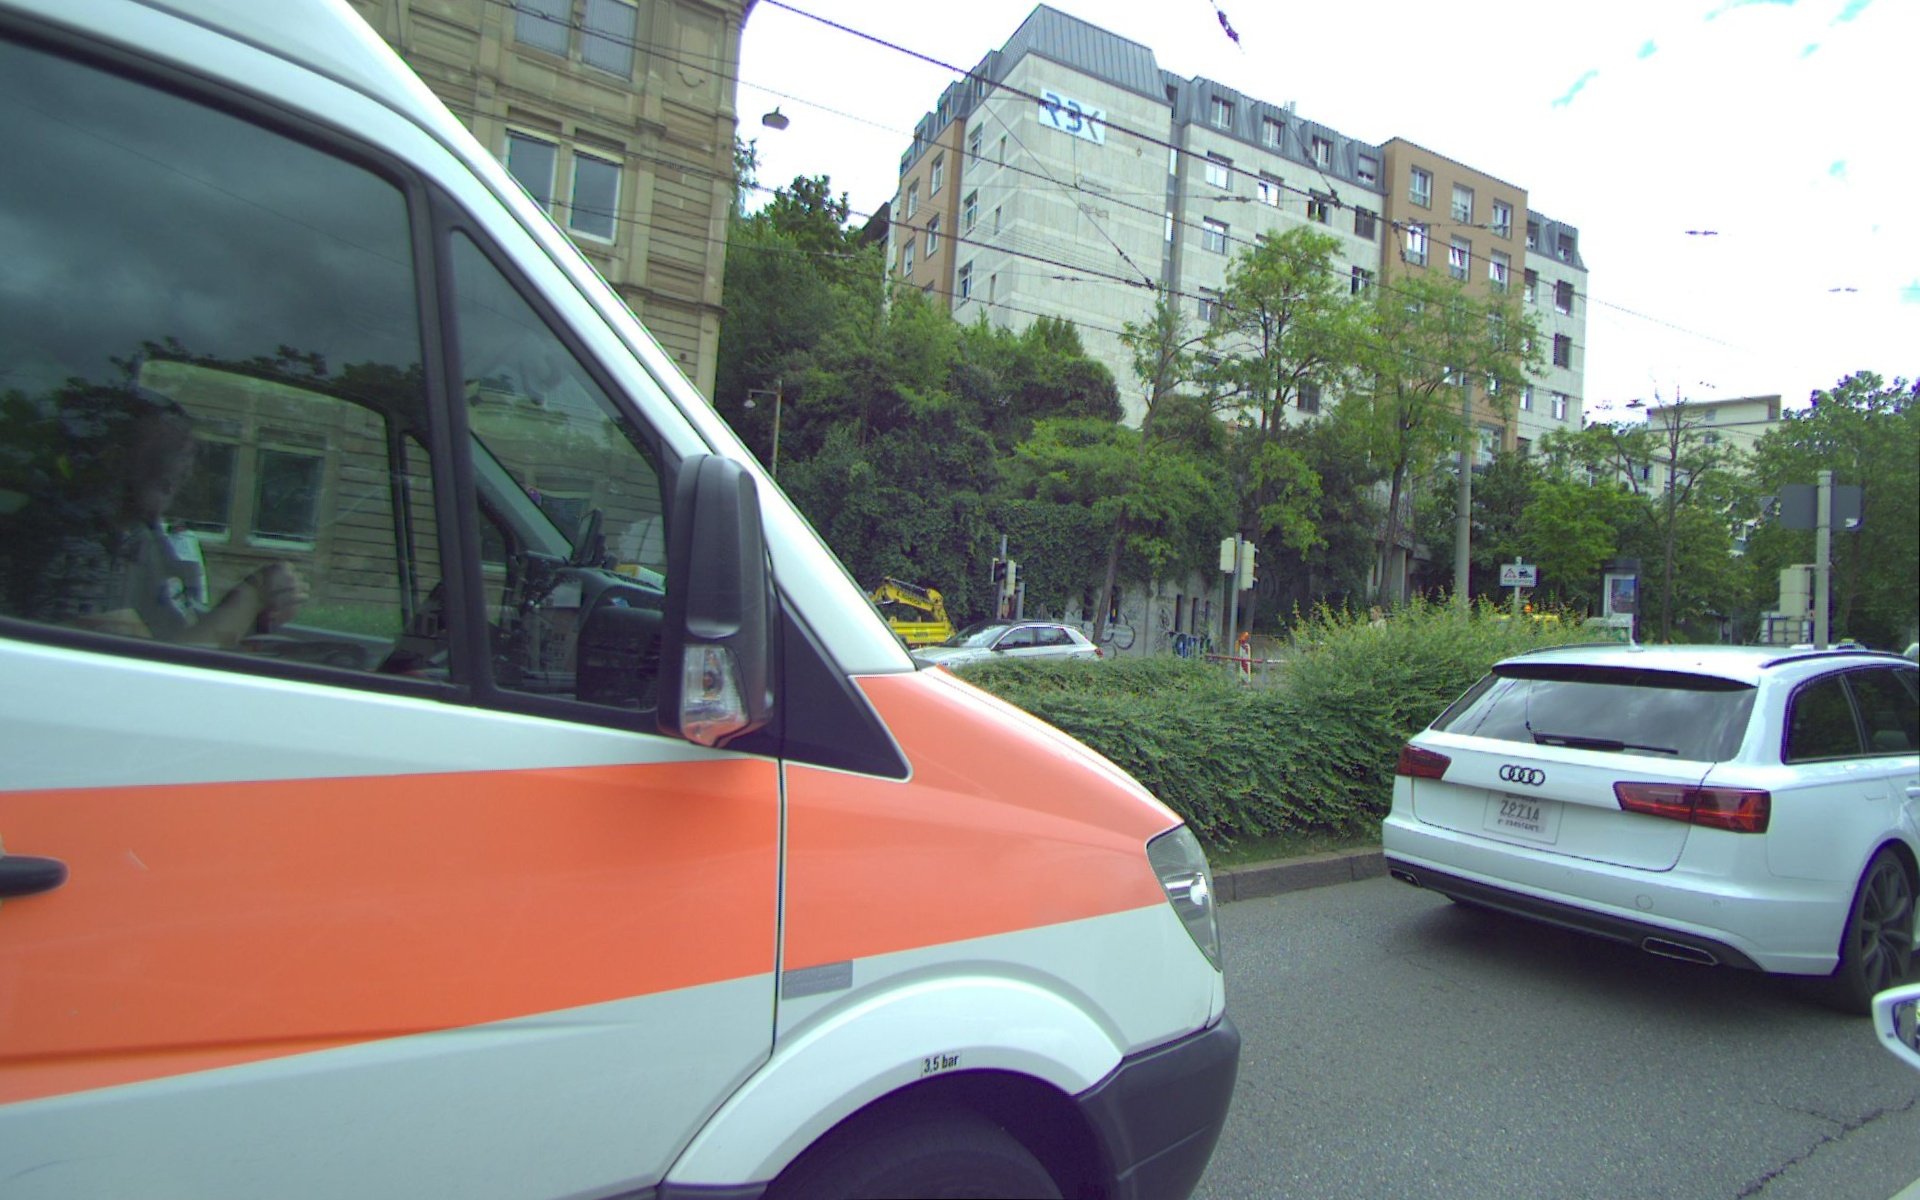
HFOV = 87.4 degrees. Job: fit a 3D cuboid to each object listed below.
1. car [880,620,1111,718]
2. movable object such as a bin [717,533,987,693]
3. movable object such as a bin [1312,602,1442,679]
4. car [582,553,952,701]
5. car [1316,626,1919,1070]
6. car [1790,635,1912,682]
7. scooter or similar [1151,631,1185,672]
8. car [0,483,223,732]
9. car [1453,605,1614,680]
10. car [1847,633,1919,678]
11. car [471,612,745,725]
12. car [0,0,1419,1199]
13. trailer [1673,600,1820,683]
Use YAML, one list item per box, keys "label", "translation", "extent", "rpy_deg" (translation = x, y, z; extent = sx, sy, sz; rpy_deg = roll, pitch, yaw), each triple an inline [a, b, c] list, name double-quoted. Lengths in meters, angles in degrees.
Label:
- label: "car"
  translation: [0.697, 1.201, 18.114]
  extent: [3.962, 1.587, 1.691]
  rpy_deg: [2, -3, -36]
- label: "movable object such as a bin"
  translation: [-2.608, 0.422, 25.724]
  extent: [6.500, 3.594, 2.722]
  rpy_deg: [3, -3, -42]
- label: "movable object such as a bin"
  translation: [14.301, 1.370, 34.435]
  extent: [4.045, 2.500, 1.926]
  rpy_deg: [2, 0, -27]
- label: "car"
  translation: [-3.599, 0.589, 19.628]
  extent: [6.686, 2.468, 2.425]
  rpy_deg: [3, -2, -35]
- label: "car"
  translation: [4.205, 0.937, 5.363]
  extent: [4.564, 1.474, 1.870]
  rpy_deg: [2, -2, -31]
- label: "car"
  translation: [32.723, 2.145, 36.870]
  extent: [4.564, 1.626, 1.985]
  rpy_deg: [2, -2, -30]
- label: "scooter or similar"
  translation: [6.787, 1.660, 32.725]
  extent: [1.282, 1.306, 0.423]
  rpy_deg: [2, -2, -41]
- label: "car"
  translation: [-12.200, 0.090, 12.253]
  extent: [4.719, 2.860, 2.203]
  rpy_deg: [2, -2, -25]
- label: "car"
  translation: [21.348, 1.609, 37.335]
  extent: [6.254, 2.627, 2.149]
  rpy_deg: [2, -2, -27]
- label: "car"
  translation: [36.584, 2.144, 38.699]
  extent: [4.548, 1.626, 1.988]
  rpy_deg: [2, -2, -25]
- label: "car"
  translation: [-5.114, 0.950, 14.670]
  extent: [3.524, 1.473, 1.636]
  rpy_deg: [2, -1, -31]
- label: "car"
  translation: [-2.127, 0.322, 1.296]
  extent: [5.787, 2.735, 2.024]
  rpy_deg: [2, -1, -31]
- label: "trailer"
  translation: [30.341, 1.614, 38.720]
  extent: [5.510, 3.012, 2.015]
  rpy_deg: [2, 0, -23]
